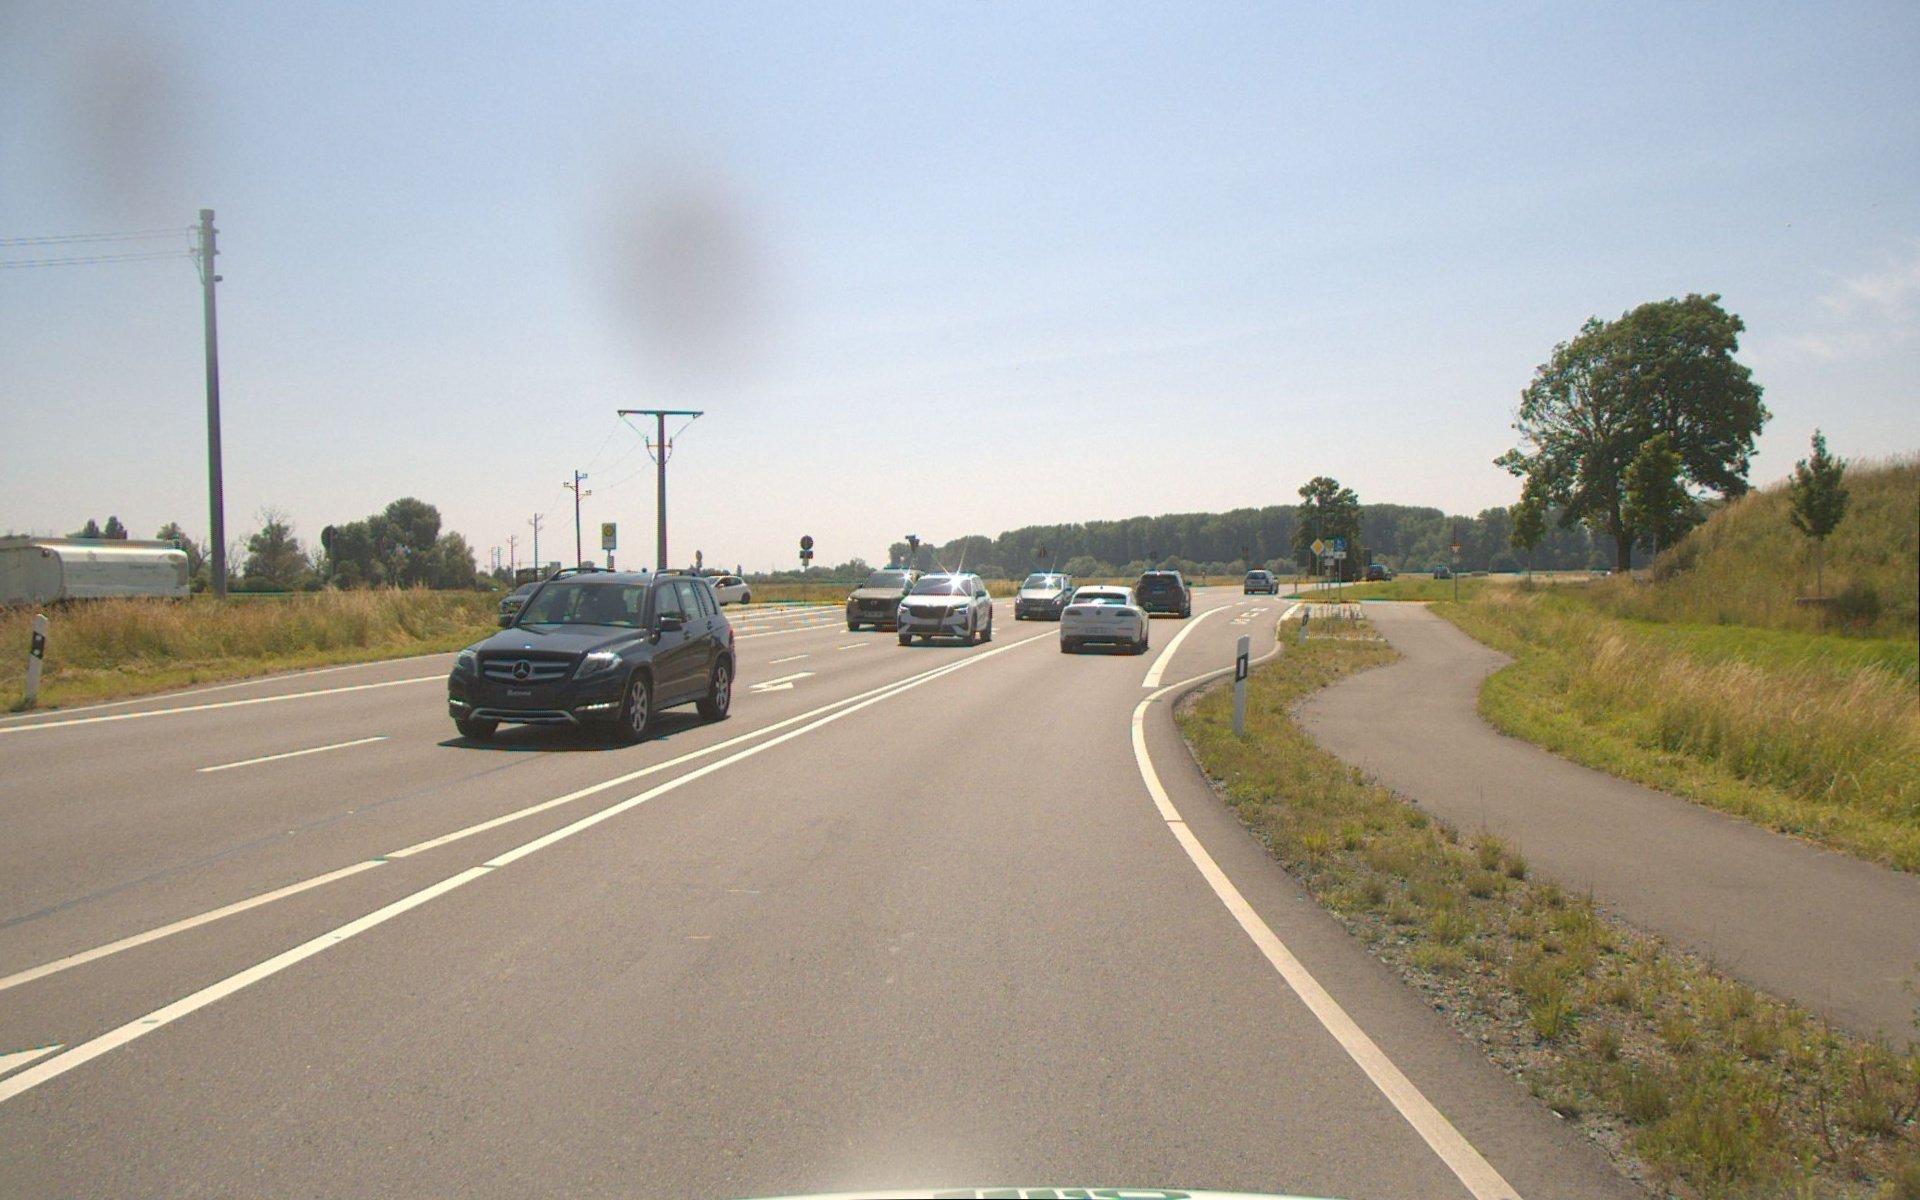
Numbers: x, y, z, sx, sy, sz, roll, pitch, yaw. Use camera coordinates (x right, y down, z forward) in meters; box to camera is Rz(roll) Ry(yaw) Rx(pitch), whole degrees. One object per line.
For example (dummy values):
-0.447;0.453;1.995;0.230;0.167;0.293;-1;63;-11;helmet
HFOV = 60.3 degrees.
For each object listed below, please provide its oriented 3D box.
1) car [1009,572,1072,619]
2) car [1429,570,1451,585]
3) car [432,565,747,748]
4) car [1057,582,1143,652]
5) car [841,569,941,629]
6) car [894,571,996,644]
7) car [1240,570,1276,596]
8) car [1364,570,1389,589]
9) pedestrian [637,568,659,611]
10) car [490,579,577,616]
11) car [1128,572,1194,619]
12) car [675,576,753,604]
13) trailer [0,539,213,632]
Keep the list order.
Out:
2.869;-0.189;58.249;1.695;1.582;4.384;1;1;10;car
55.068;-2.554;189.637;1.764;1.548;3.880;-5;-1;25;car
-3.712;0.496;17.428;1.826;1.679;4.331;0;1;8;car
3.218;0.369;37.633;1.808;1.458;4.611;1;0;6;car
-1.967;-0.081;48.777;1.919;1.679;4.794;0;1;11;car
-0.307;0.149;40.817;1.838;1.679;4.847;1;0;8;car
18.380;-1.024;101.858;1.761;1.454;4.095;1;-1;15;car
37.598;-1.834;149.278;1.762;1.502;4.415;-2;-1;20;car
-13.484;-0.457;71.467;0.596;1.816;0.846;0;0;18;pedestrian
-17.099;-0.105;66.482;1.638;1.411;3.841;1;0;16;car
7.553;-0.146;61.833;1.893;1.645;4.381;-2;-1;13;car
-12.070;-0.495;81.348;1.660;1.355;4.028;1;0;31;car
-24.979;-0.462;48.068;2.620;2.498;6.389;0;1;13;trailer
